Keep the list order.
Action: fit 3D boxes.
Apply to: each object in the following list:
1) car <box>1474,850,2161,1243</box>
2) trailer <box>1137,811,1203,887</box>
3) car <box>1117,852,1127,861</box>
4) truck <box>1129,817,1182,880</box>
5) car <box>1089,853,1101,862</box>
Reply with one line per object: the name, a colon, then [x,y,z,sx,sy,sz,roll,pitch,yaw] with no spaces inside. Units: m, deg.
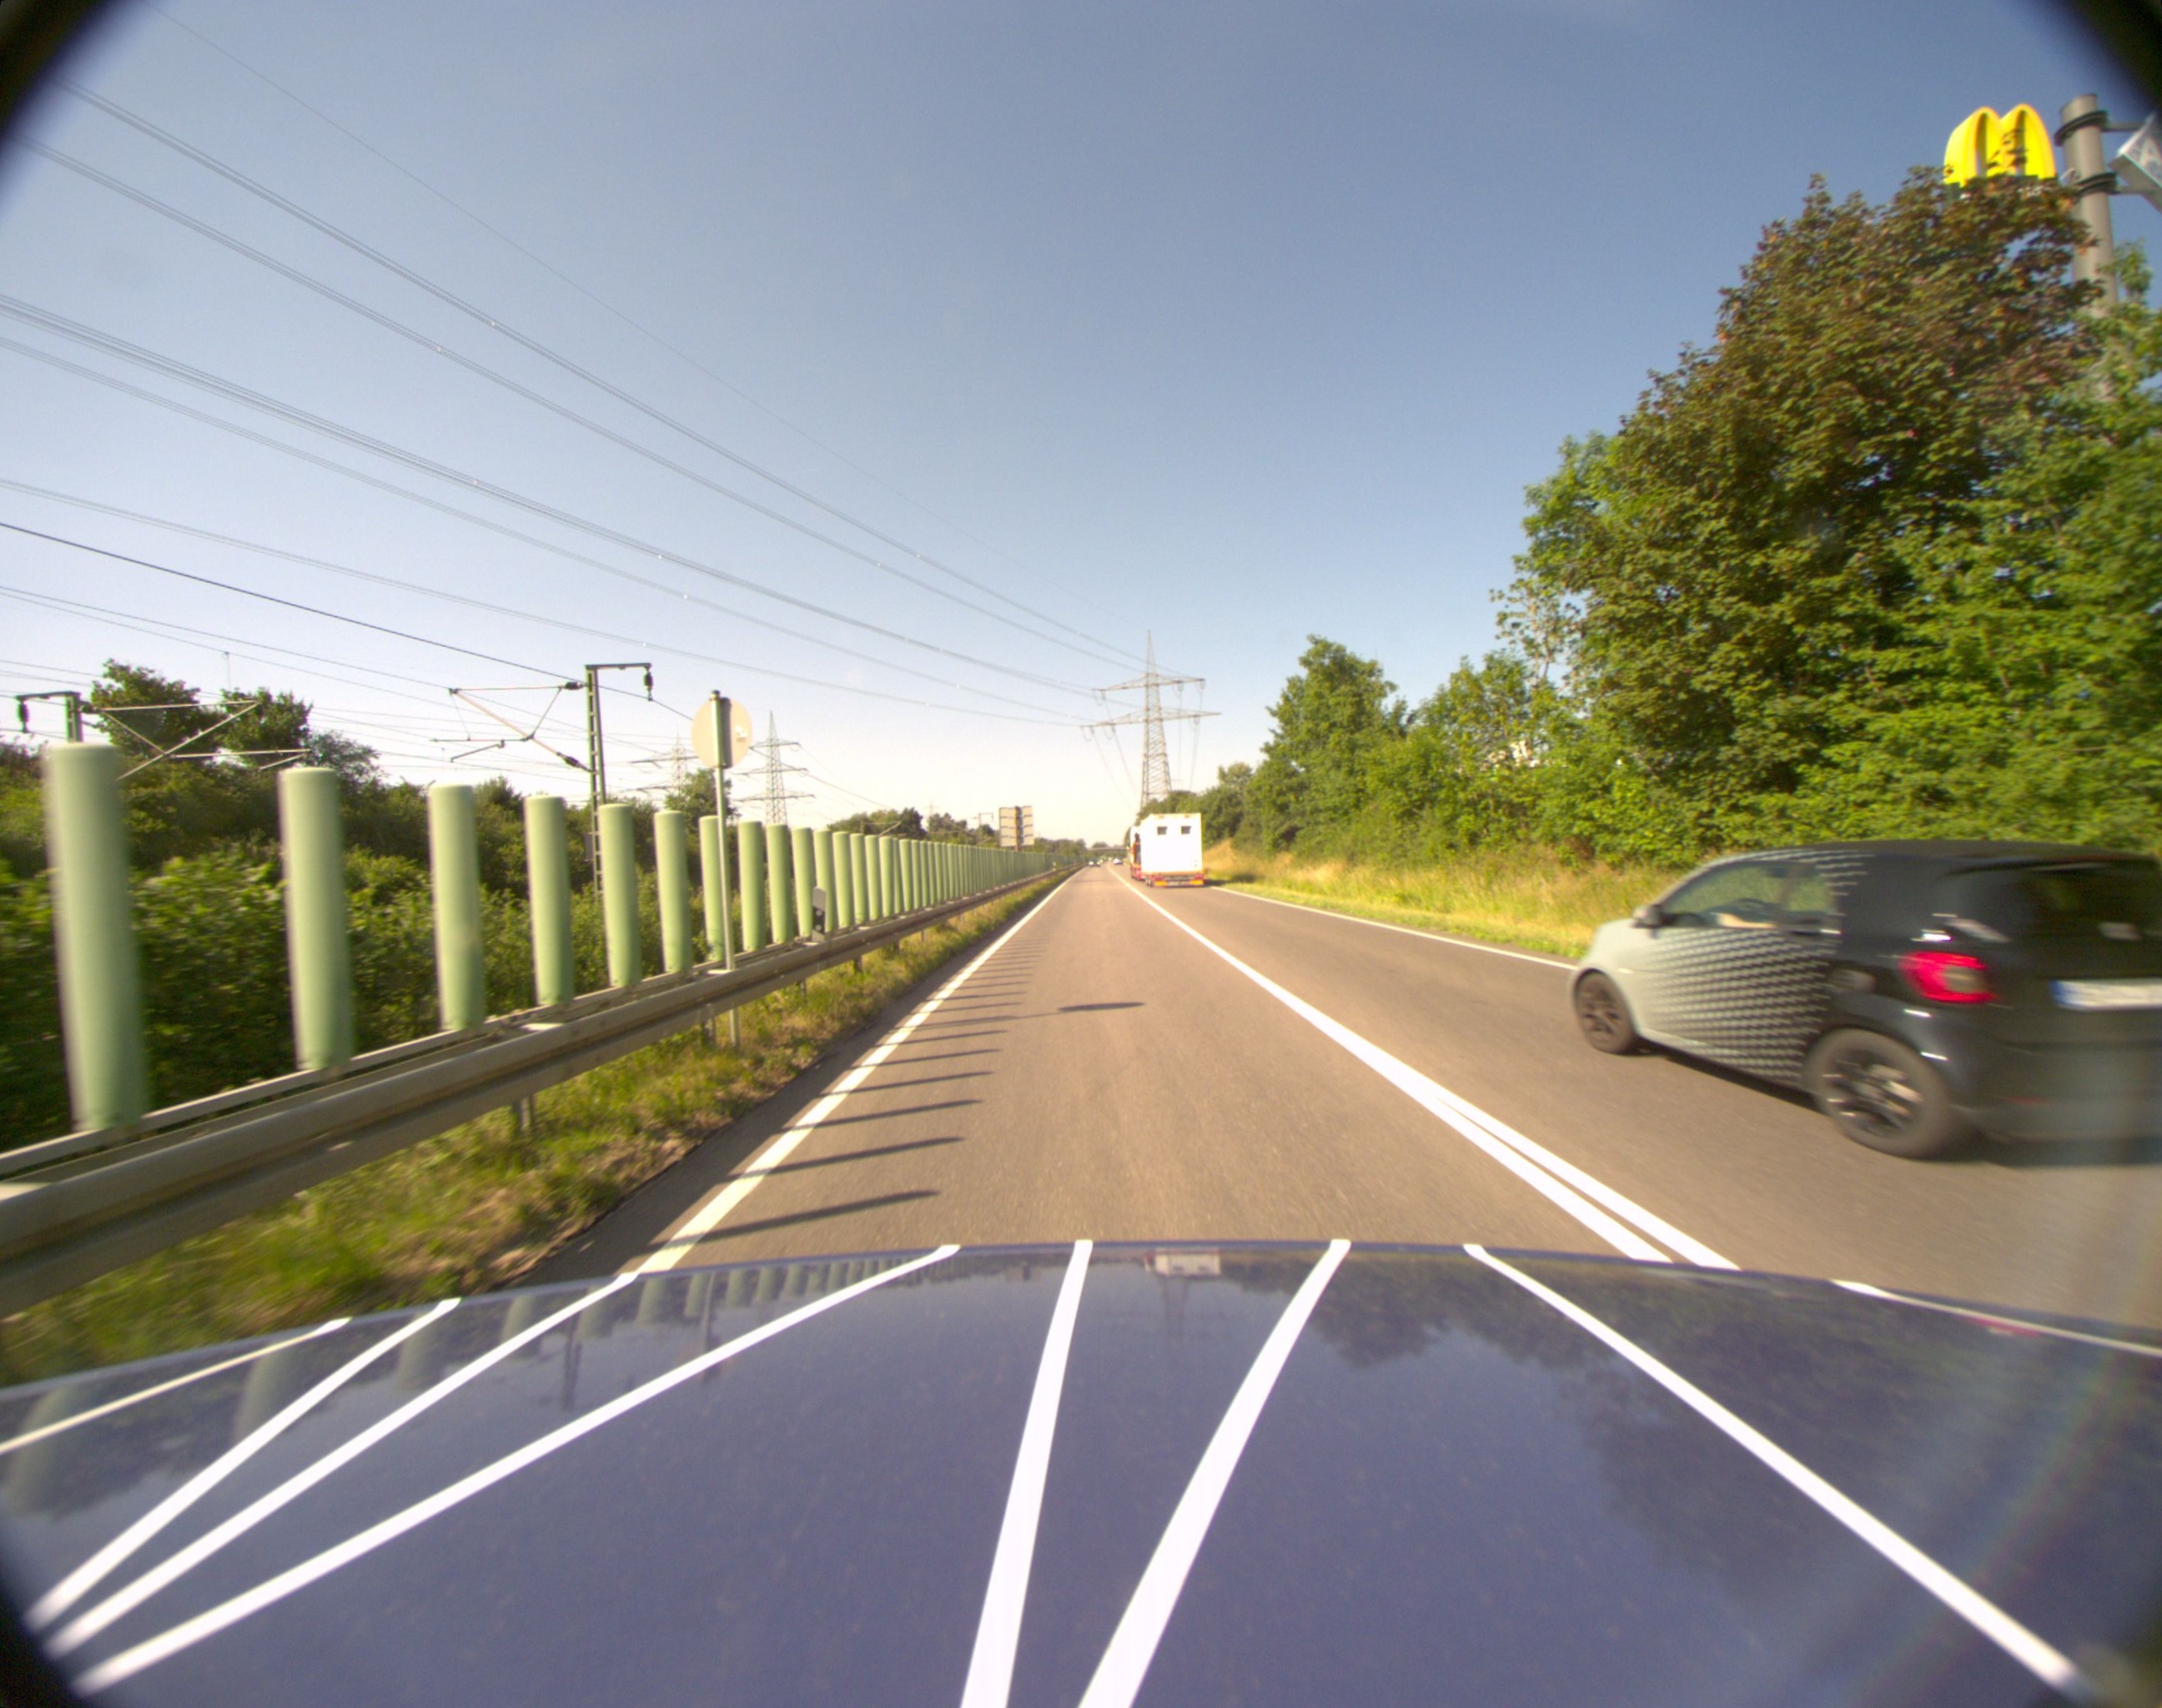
car: [4.638,0.776,5.077,1.861,1.550,3.999,-1,0,-1]
trailer: [4.622,-0.242,40.922,2.566,3.574,8.292,-2,0,1]
car: [8.279,0.482,154.148,1.800,1.584,3.999,-2,1,0]
truck: [4.744,-0.319,50.325,2.566,3.667,10.487,-2,0,1]
car: [2.374,0.571,125.074,1.786,1.550,4.001,-1,0,4]
